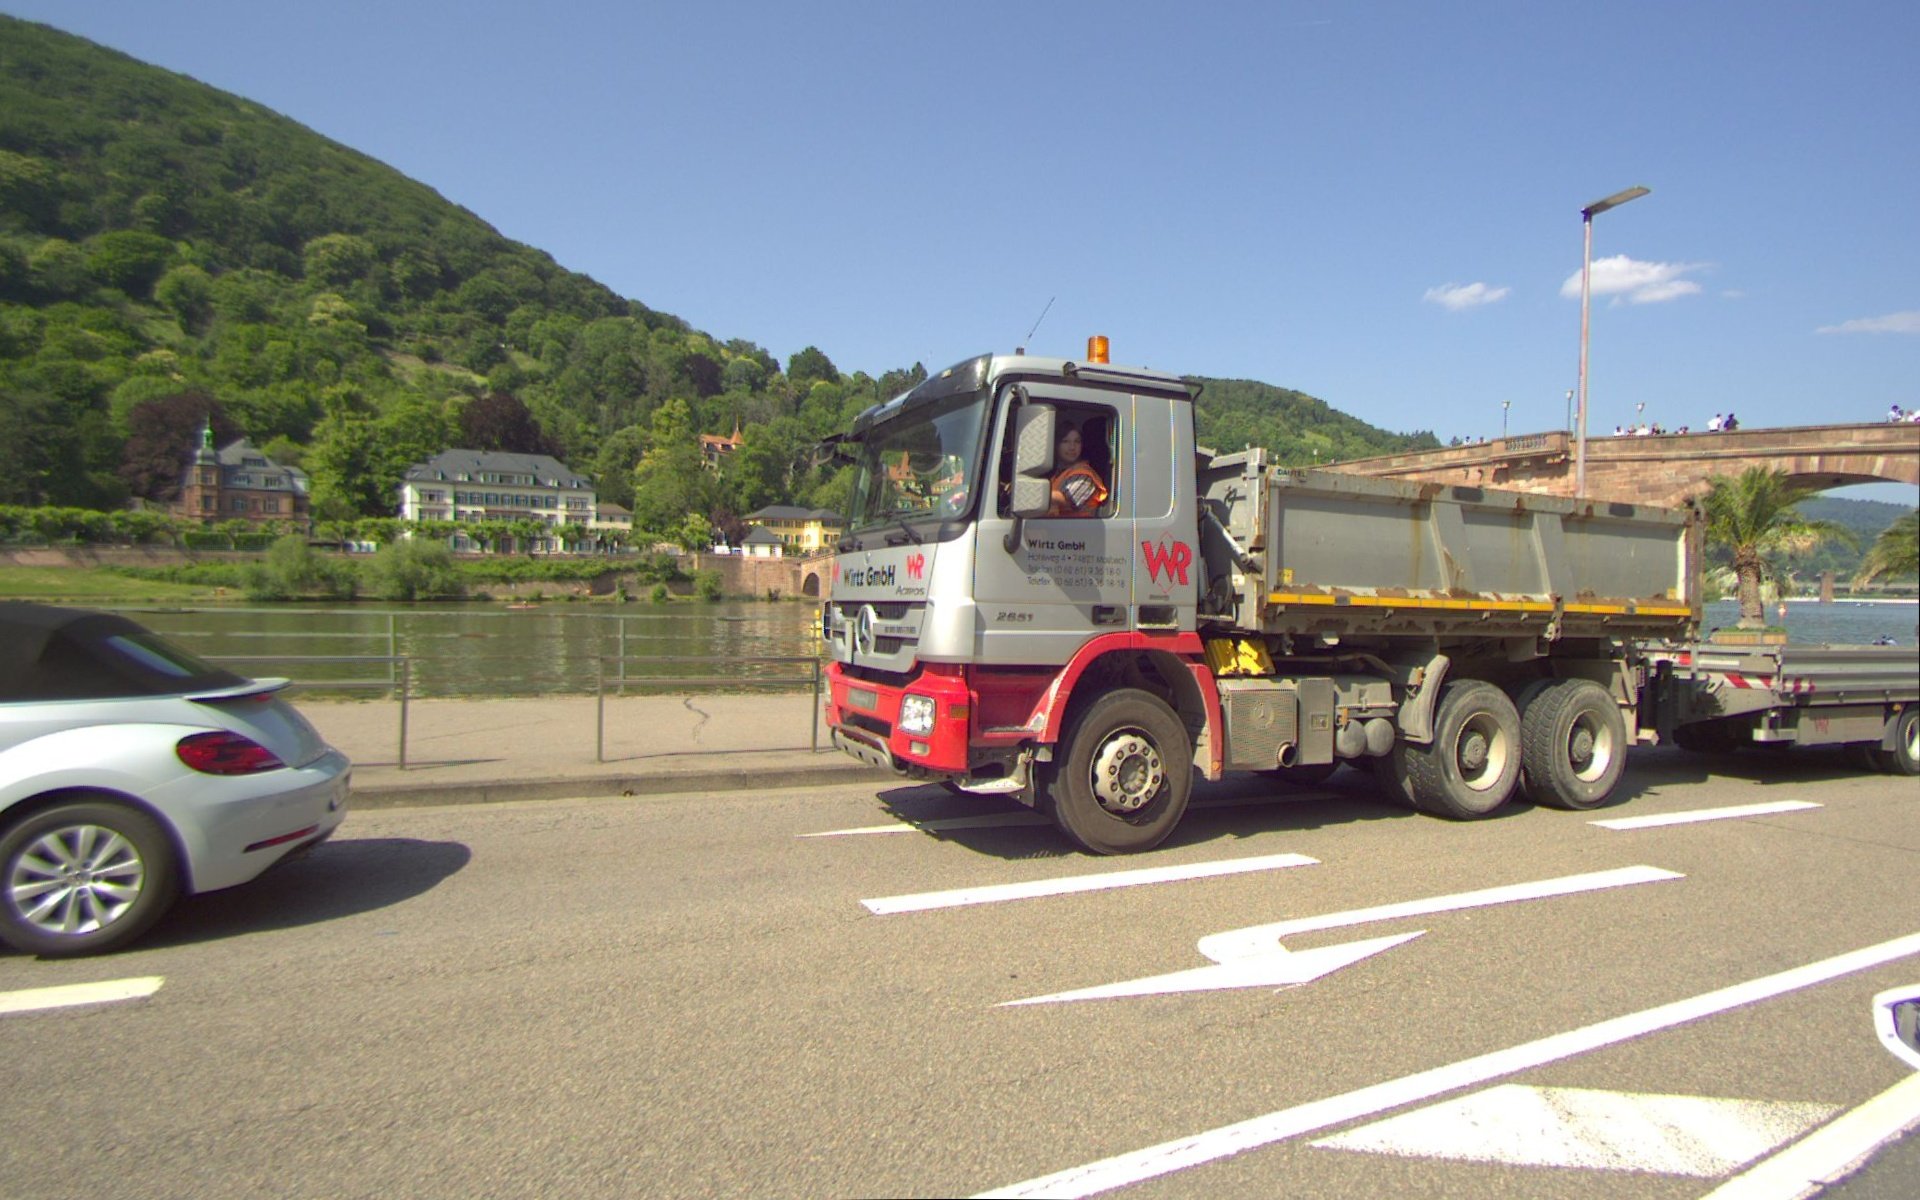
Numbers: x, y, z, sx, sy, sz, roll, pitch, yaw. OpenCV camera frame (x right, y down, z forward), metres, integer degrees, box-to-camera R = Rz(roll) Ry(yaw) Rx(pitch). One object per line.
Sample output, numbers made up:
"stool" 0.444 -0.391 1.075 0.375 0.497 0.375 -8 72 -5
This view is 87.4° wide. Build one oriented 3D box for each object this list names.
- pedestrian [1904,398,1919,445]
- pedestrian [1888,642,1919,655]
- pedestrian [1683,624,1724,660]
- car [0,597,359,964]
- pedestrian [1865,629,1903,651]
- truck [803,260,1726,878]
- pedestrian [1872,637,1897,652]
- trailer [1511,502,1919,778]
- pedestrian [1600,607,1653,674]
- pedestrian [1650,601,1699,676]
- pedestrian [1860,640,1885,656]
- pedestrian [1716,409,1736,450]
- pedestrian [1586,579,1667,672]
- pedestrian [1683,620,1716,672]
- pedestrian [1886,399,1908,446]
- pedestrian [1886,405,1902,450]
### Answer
"pedestrian" 44.651 -8.349 46.940 0.688 2.040 0.619 1 0 -35
"pedestrian" 33.679 1.723 35.590 1.720 0.427 0.642 0 -1 -27
"pedestrian" 24.222 1.353 32.724 0.500 1.160 0.939 0 -2 -22
"car" -5.068 0.706 4.422 3.943 1.463 1.772 1 -1 -25
"pedestrian" 34.228 1.484 37.198 0.699 0.753 0.786 0 1 -18
"truck" 2.807 -0.068 8.544 7.764 3.502 2.634 1 -2 -25
"pedestrian" 34.085 1.644 37.021 0.506 0.571 0.463 1 -4 -18
"trailer" 10.118 0.482 12.024 6.853 2.564 2.690 2 -2 -25
"pedestrian" 15.922 0.973 23.996 1.108 1.553 0.786 2 -4 -43
"pedestrian" 16.714 0.880 23.510 0.781 1.714 0.845 1 1 27
"pedestrian" 32.974 1.740 36.292 0.506 0.571 0.463 1 -4 -18
"pedestrian" 40.721 -9.063 53.392 0.618 2.040 0.689 1 0 -31
"pedestrian" 12.796 0.474 19.302 1.136 1.724 0.813 1 1 -27
"pedestrian" 23.778 1.477 32.303 0.587 1.622 0.675 1 0 -28
"pedestrian" 44.231 -8.351 47.395 0.688 2.040 0.619 1 0 -35
"pedestrian" 44.600 -8.225 47.972 0.549 2.040 0.455 1 0 -35
